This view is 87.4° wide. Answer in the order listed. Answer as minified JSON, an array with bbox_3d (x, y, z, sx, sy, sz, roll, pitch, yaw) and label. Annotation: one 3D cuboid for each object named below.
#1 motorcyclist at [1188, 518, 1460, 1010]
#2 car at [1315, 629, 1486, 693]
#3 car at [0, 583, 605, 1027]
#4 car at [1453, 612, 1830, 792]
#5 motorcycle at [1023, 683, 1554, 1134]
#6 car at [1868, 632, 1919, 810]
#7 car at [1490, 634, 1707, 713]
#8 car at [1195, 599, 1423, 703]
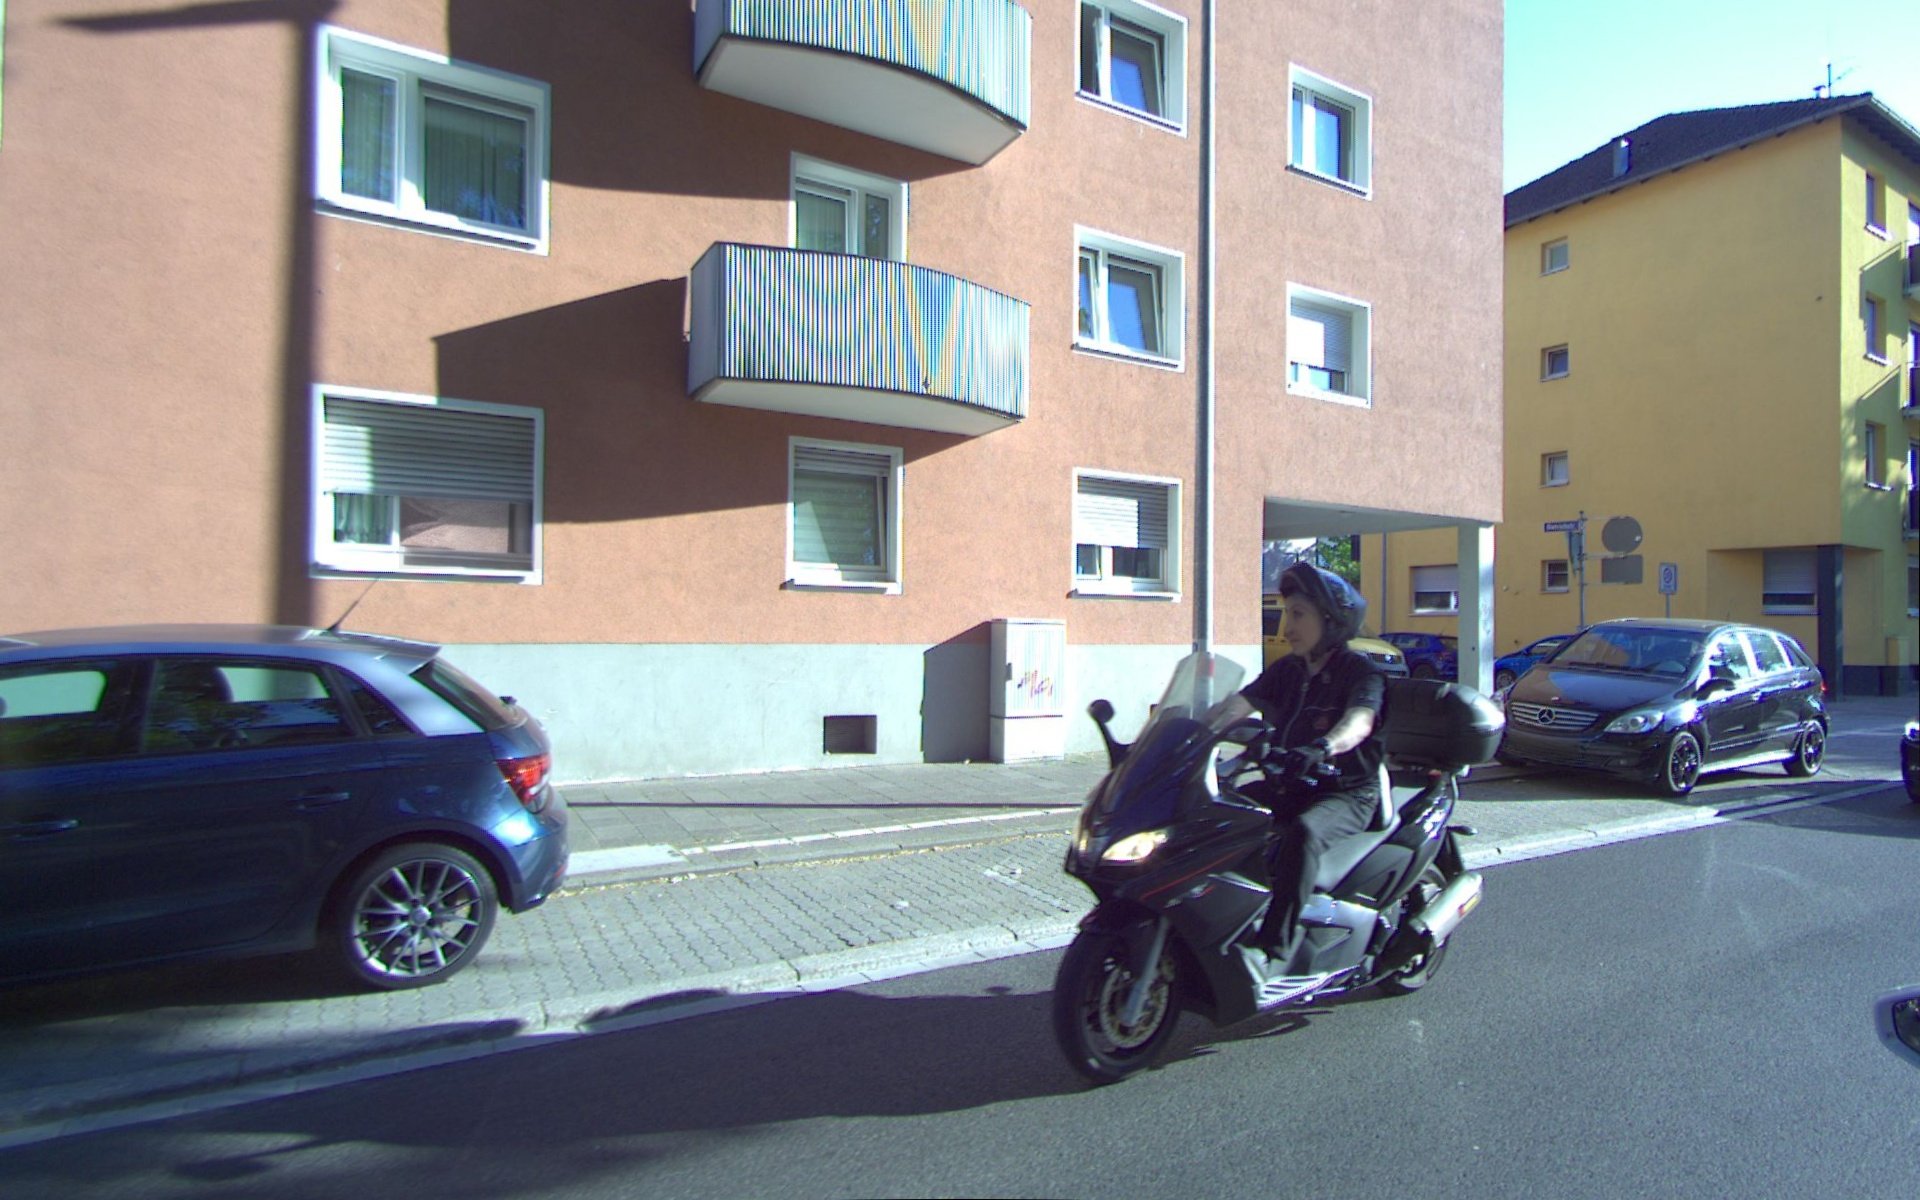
[{"bbox_3d":[1.367,0.554,3.795,0.822,1.626,0.583,1,-2,-31],"label":"motorcyclist"},{"bbox_3d":[11.687,1.572,26.905,1.728,1.587,3.972,1,-2,-29],"label":"car"},{"bbox_3d":[-3.508,0.698,4.239,3.557,1.506,1.670,1,0,-29],"label":"car"},{"bbox_3d":[7.176,0.945,10.510,3.972,1.544,1.670,1,0,-29],"label":"car"},{"bbox_3d":[1.310,0.964,3.753,2.238,1.257,0.544,2,-4,-31],"label":"motorcycle"},{"bbox_3d":[10.232,1.055,9.111,4.271,1.498,1.763,1,-2,-30],"label":"car"},{"bbox_3d":[14.193,1.569,22.551,1.728,1.587,3.767,1,-2,-29],"label":"car"},{"bbox_3d":[7.502,1.072,22.132,1.896,2.040,4.727,1,-2,-28],"label":"car"}]
